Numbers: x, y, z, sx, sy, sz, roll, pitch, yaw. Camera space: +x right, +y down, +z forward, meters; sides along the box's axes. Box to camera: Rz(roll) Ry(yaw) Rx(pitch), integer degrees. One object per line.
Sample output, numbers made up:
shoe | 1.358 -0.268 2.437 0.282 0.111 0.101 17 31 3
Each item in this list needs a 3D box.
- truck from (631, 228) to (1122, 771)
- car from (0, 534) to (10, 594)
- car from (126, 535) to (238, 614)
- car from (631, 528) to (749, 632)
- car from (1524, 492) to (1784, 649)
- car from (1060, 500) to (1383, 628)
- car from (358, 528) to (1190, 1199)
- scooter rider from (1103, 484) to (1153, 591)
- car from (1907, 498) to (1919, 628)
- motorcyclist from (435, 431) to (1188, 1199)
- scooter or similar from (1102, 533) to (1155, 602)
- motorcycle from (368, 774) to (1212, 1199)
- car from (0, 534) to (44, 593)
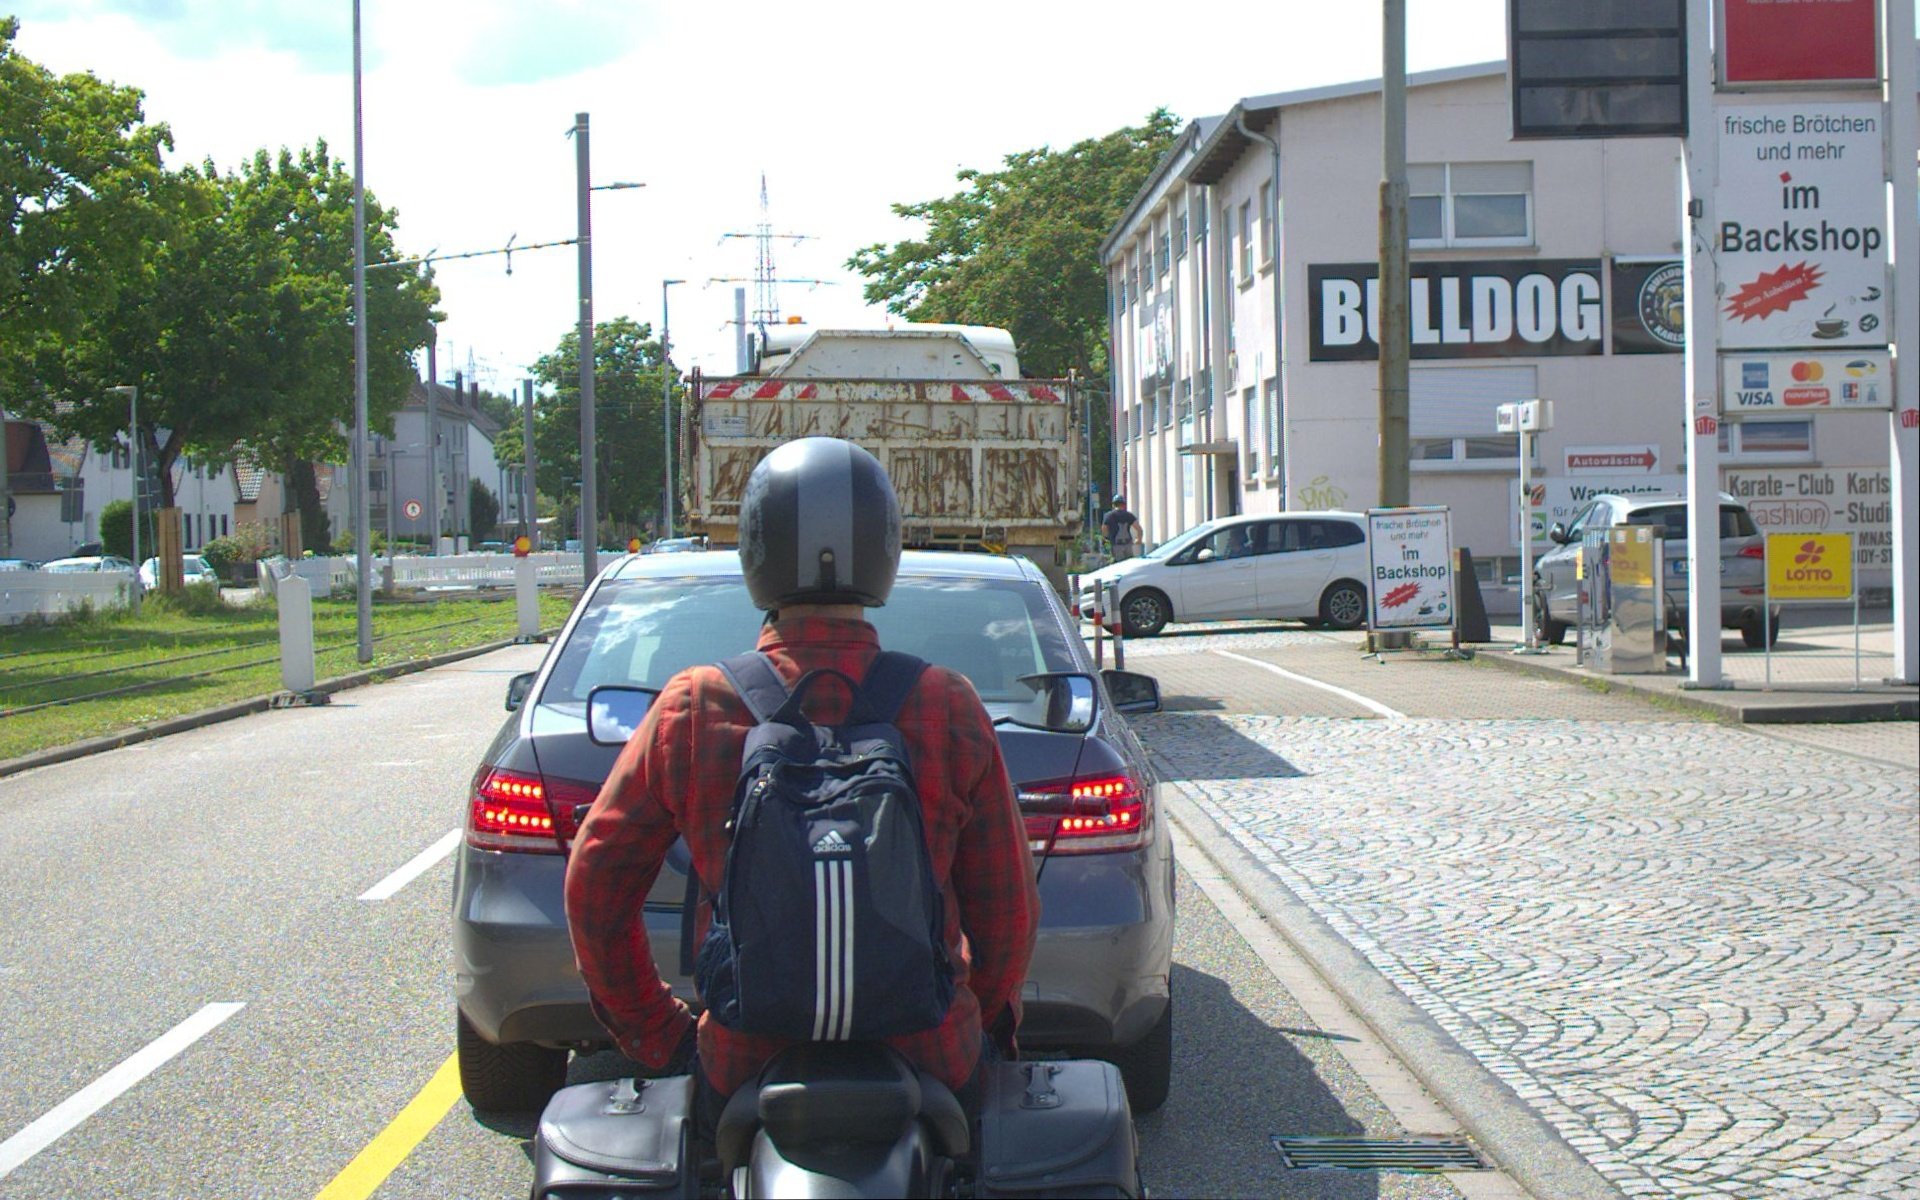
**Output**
truck | -0.634 -0.717 25.468 2.970 3.293 8.408 -1 1 -2
car | -28.673 -1.002 98.576 1.698 1.733 4.062 -1 1 0
car | -17.867 -0.608 79.090 1.698 1.733 3.860 -1 1 0
car | -4.453 -0.366 57.231 1.680 1.619 4.119 -1 1 -1
car | 7.324 -0.343 36.645 1.832 1.530 4.010 -1 1 -2
car | 3.550 -0.503 47.031 4.104 1.619 1.686 -1 1 -8
car | -0.472 0.558 9.735 1.832 1.474 4.010 -1 1 -2
scooter rider | 2.876 -1.081 58.986 0.795 1.812 0.508 -1 1 -1
car | 11.789 -0.403 37.244 1.832 1.474 4.010 -1 1 -2
motorcyclist | -0.204 0.586 5.085 0.969 1.627 1.215 1 1 -1
scooter or similar | 2.886 -0.568 58.998 0.795 1.141 1.519 -1 1 -1
motorcycle | -0.215 0.861 5.208 0.976 1.010 2.432 1 1 -1
car | -29.268 -1.113 104.587 1.698 1.733 4.062 -1 1 0
